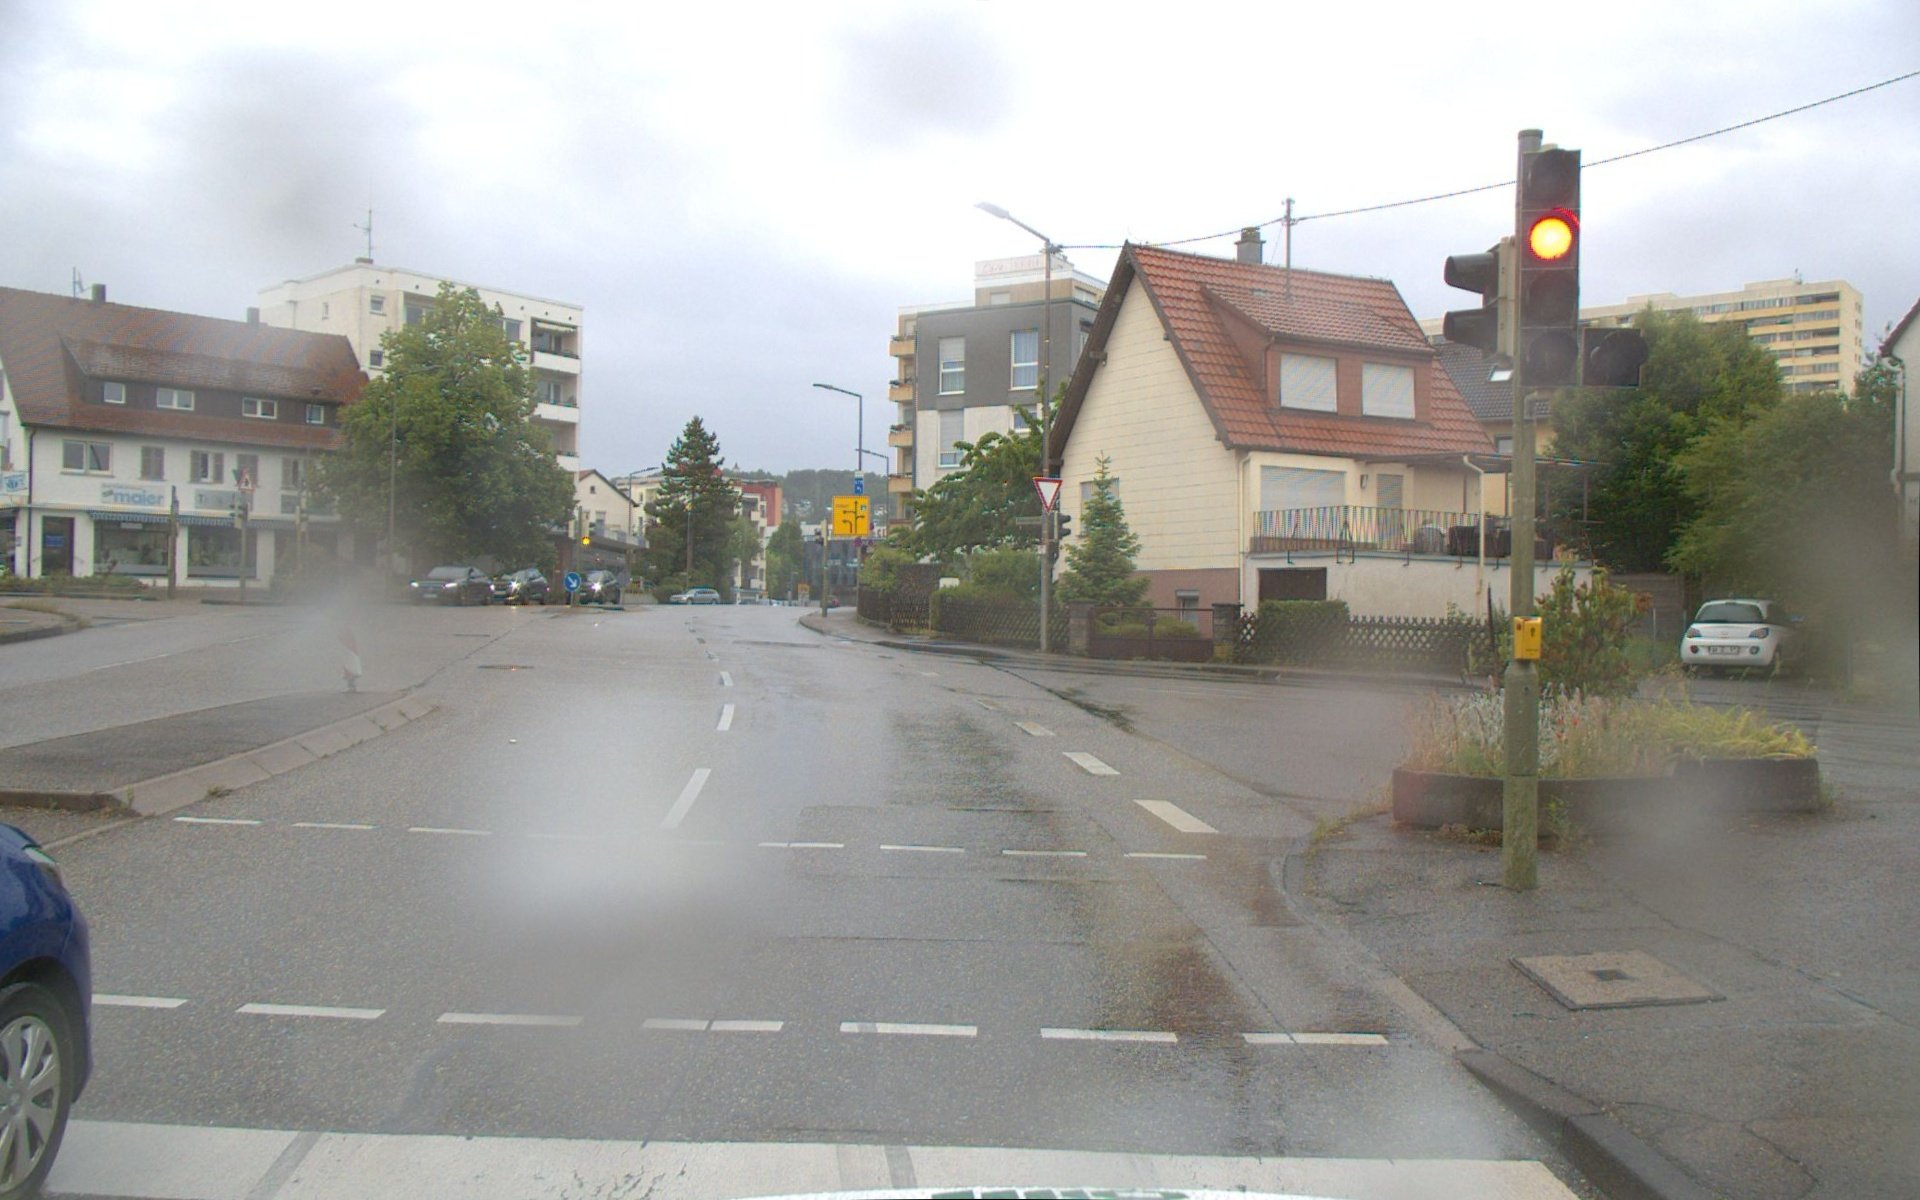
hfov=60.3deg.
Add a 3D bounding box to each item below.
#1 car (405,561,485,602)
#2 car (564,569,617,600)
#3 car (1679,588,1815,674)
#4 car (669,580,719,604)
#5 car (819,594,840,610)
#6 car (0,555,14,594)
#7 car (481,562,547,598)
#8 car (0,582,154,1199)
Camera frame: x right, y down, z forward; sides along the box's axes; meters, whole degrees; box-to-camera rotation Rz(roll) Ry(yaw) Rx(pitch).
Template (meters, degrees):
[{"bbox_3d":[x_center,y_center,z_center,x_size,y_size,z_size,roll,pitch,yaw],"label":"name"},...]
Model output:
[{"bbox_3d":[-18.659,-0.680,60.083,1.742,1.445,3.830,1,1,-1],"label":"car"},{"bbox_3d":[-17.620,-0.745,79.054,1.742,1.445,3.830,1,1,-1],"label":"car"},{"bbox_3d":[15.386,0.550,32.233,1.710,1.541,3.985,1,1,36],"label":"car"},{"bbox_3d":[-21.149,-0.638,131.793,3.773,1.847,1.760,1,1,-5],"label":"car"},{"bbox_3d":[-13.136,0.176,166.820,1.776,1.512,4.189,0,1,0],"label":"car"},{"bbox_3d":[-41.010,-1.069,67.432,1.842,1.599,3.938,2,1,45],"label":"car"},{"bbox_3d":[-18.119,-0.828,67.380,1.680,1.411,4.020,1,1,-1],"label":"car"},{"bbox_3d":[-2.844,0.692,2.617,1.546,1.435,3.270,1,1,-1],"label":"car"}]
